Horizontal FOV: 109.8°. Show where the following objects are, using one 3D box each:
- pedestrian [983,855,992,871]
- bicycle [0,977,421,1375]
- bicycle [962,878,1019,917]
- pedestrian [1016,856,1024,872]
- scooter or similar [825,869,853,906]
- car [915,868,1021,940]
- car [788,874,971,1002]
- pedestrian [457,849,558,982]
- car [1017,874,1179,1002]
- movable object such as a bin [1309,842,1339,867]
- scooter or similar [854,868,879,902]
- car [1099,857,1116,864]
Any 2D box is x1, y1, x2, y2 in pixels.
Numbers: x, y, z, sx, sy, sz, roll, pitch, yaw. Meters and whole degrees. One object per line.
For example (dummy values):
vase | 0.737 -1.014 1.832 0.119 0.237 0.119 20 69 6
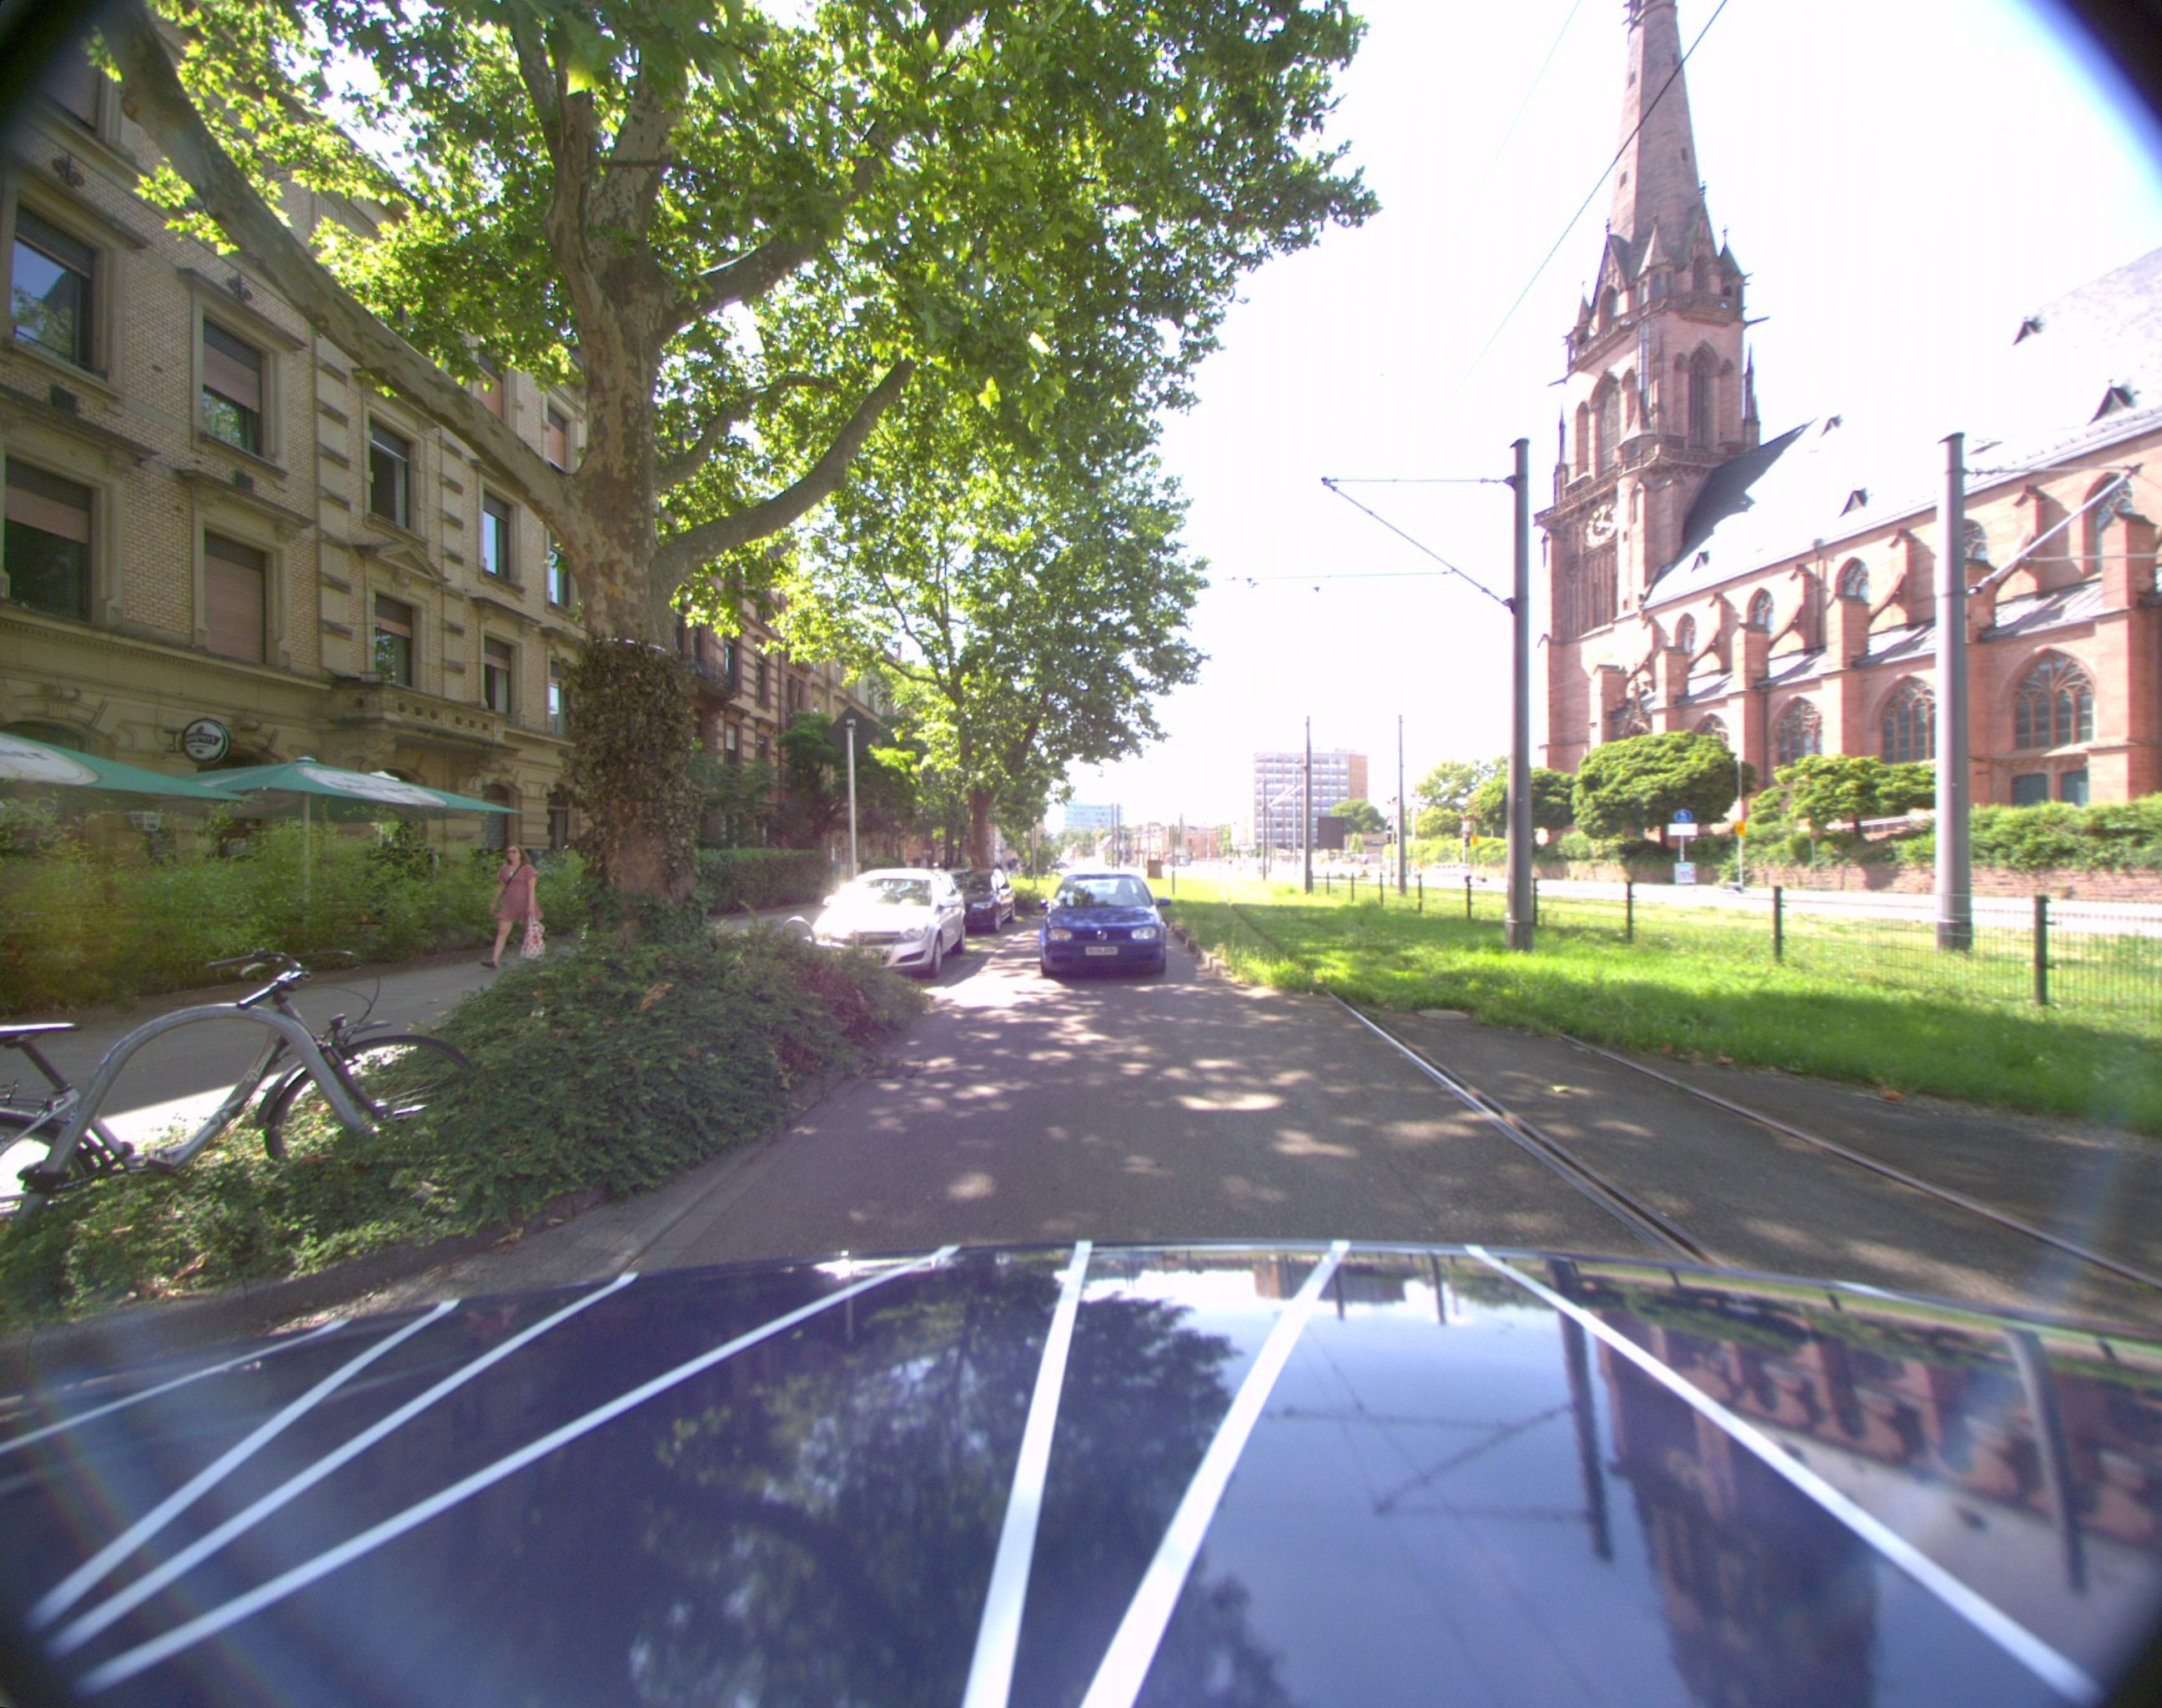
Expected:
pedestrian | -9.851 0.942 80.340 0.797 1.708 0.968 -1 0 0
bicycle | -3.520 1.126 2.768 0.421 1.099 1.620 0 0 31
bicycle | -2.724 1.300 22.945 1.641 1.082 0.471 0 0 -32
pedestrian | -6.455 1.071 80.655 0.797 1.708 0.968 0 0 0
scooter or similar | -8.474 1.171 26.628 0.583 1.240 1.145 0 0 1
car | -2.630 1.126 18.761 1.838 1.499 4.644 0 0 1
car | -2.861 1.120 11.838 1.838 1.499 4.491 0 0 -3
pedestrian | -8.053 0.836 10.702 0.738 1.775 0.852 1 0 0
car | 0.201 1.042 11.026 1.886 1.401 4.093 -1 0 0
movable object such as a bin | 37.652 0.059 117.637 3.341 3.858 2.932 0 0 -33
scooter or similar | -8.276 1.195 29.350 0.583 1.275 1.145 0 0 3
car | 6.752 1.657 196.297 3.959 1.662 1.827 -1 0 -22
